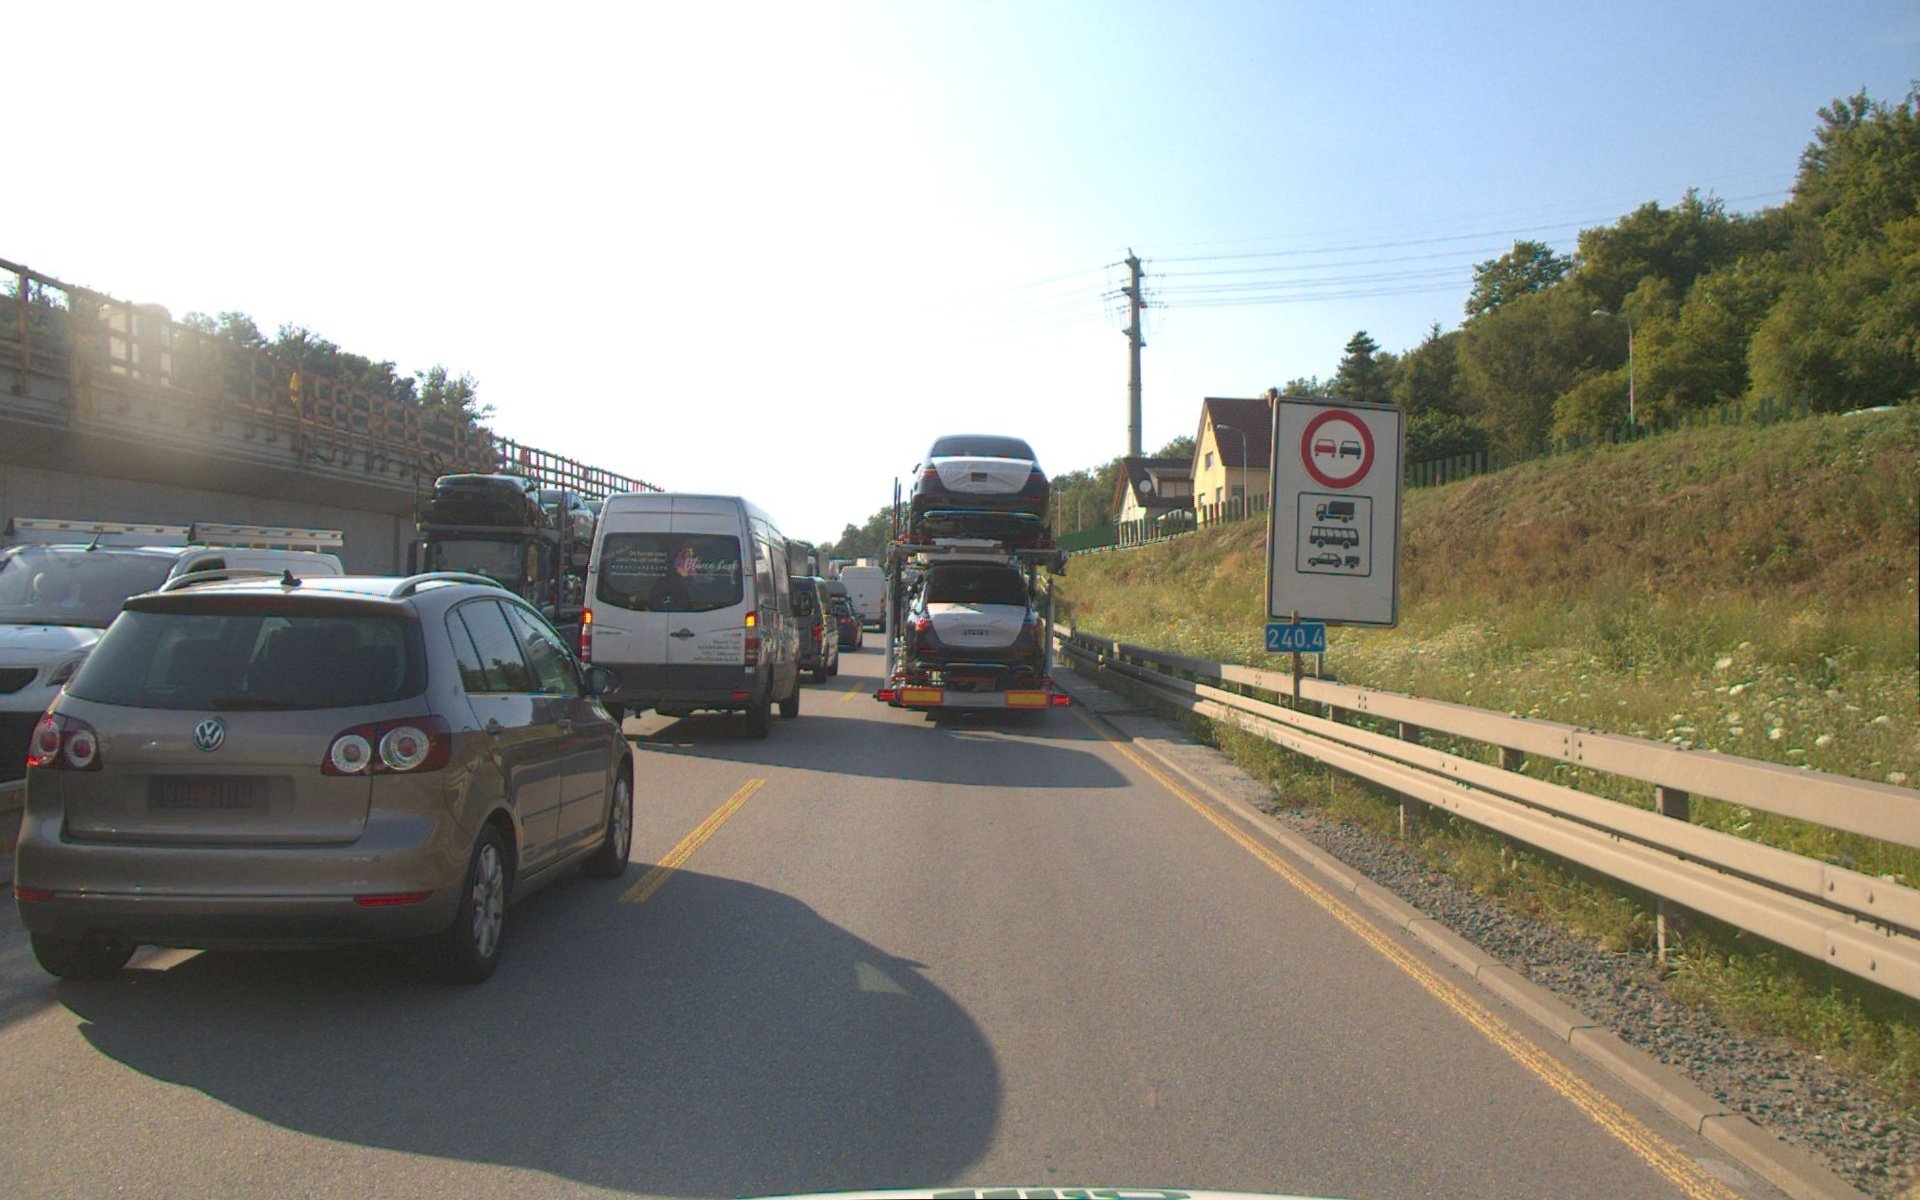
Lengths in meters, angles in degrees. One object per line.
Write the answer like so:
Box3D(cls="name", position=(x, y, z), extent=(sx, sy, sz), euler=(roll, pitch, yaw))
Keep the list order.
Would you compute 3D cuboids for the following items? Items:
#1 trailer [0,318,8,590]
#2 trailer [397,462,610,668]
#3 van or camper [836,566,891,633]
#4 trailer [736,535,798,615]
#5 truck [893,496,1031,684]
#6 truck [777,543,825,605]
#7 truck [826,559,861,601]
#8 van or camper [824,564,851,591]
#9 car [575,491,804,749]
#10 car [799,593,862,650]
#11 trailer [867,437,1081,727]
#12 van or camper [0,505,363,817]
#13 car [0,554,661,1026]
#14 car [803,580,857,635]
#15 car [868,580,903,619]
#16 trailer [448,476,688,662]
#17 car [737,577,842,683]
Box3D(cls="trailer", position=(-9.755, -0.607, 8.085), extent=(2.598, 3.918, 13.439), euler=(1, 0, -1))
Box3D(cls="trailer", position=(-9.996, -0.686, 37.067), extent=(2.714, 4.101, 7.207), euler=(1, 0, 0))
Box3D(cls="van or camper", position=(-3.963, -0.011, 68.842), extent=(1.928, 2.637, 5.041), euler=(1, 0, 0))
Box3D(cls="trailer", position=(-10.595, -1.392, 91.168), extent=(2.708, 4.213, 5.975), euler=(1, 1, -1))
Box3D(cls="truck", position=(-0.002, -0.192, 35.880), extent=(2.628, 3.596, 7.192), euler=(1, 0, -1))
Box3D(cls="truck", position=(-10.945, -1.741, 114.057), extent=(2.802, 4.078, 5.656), euler=(1, 0, -1))
Box3D(cls="truck", position=(-10.108, -1.695, 143.868), extent=(2.660, 3.484, 8.138), euler=(-2, 0, -2))
Box3D(cls="van or camper", position=(-12.373, -2.264, 167.286), extent=(2.265, 2.709, 6.453), euler=(-1, 1, -1))
Box3D(cls="car", position=(-3.088, 0.173, 20.078), extent=(1.953, 2.694, 5.530), euler=(0, 1, -1))
Box3D(cls="car", position=(-3.847, 0.611, 49.598), extent=(1.691, 1.549, 3.972), euler=(1, 1, -2))
Box3D(cls="trailer", position=(0.096, -0.219, 28.492), extent=(2.628, 3.596, 15.286), euler=(1, 0, -1))
Box3D(cls="van or camper", position=(-6.711, 0.397, 13.551), extent=(1.821, 2.049, 5.293), euler=(1, 0, -2))
Box3D(cls="car", position=(-2.597, 0.678, 7.829), extent=(1.646, 1.616, 4.270), euler=(0, -1, -1))
Box3D(cls="car", position=(-6.321, 0.351, 80.871), extent=(2.421, 2.578, 3.999), euler=(0, 0, -2))
Box3D(cls="car", position=(-4.196, -0.043, 93.509), extent=(1.847, 2.136, 3.764), euler=(1, 0, -1))
Box3D(cls="trailer", position=(-10.081, -0.657, 44.934), extent=(2.714, 4.101, 15.762), euler=(1, 0, 0))
Box3D(cls="car", position=(-3.313, 0.579, 32.759), extent=(1.772, 1.937, 3.998), euler=(1, -1, -2))
